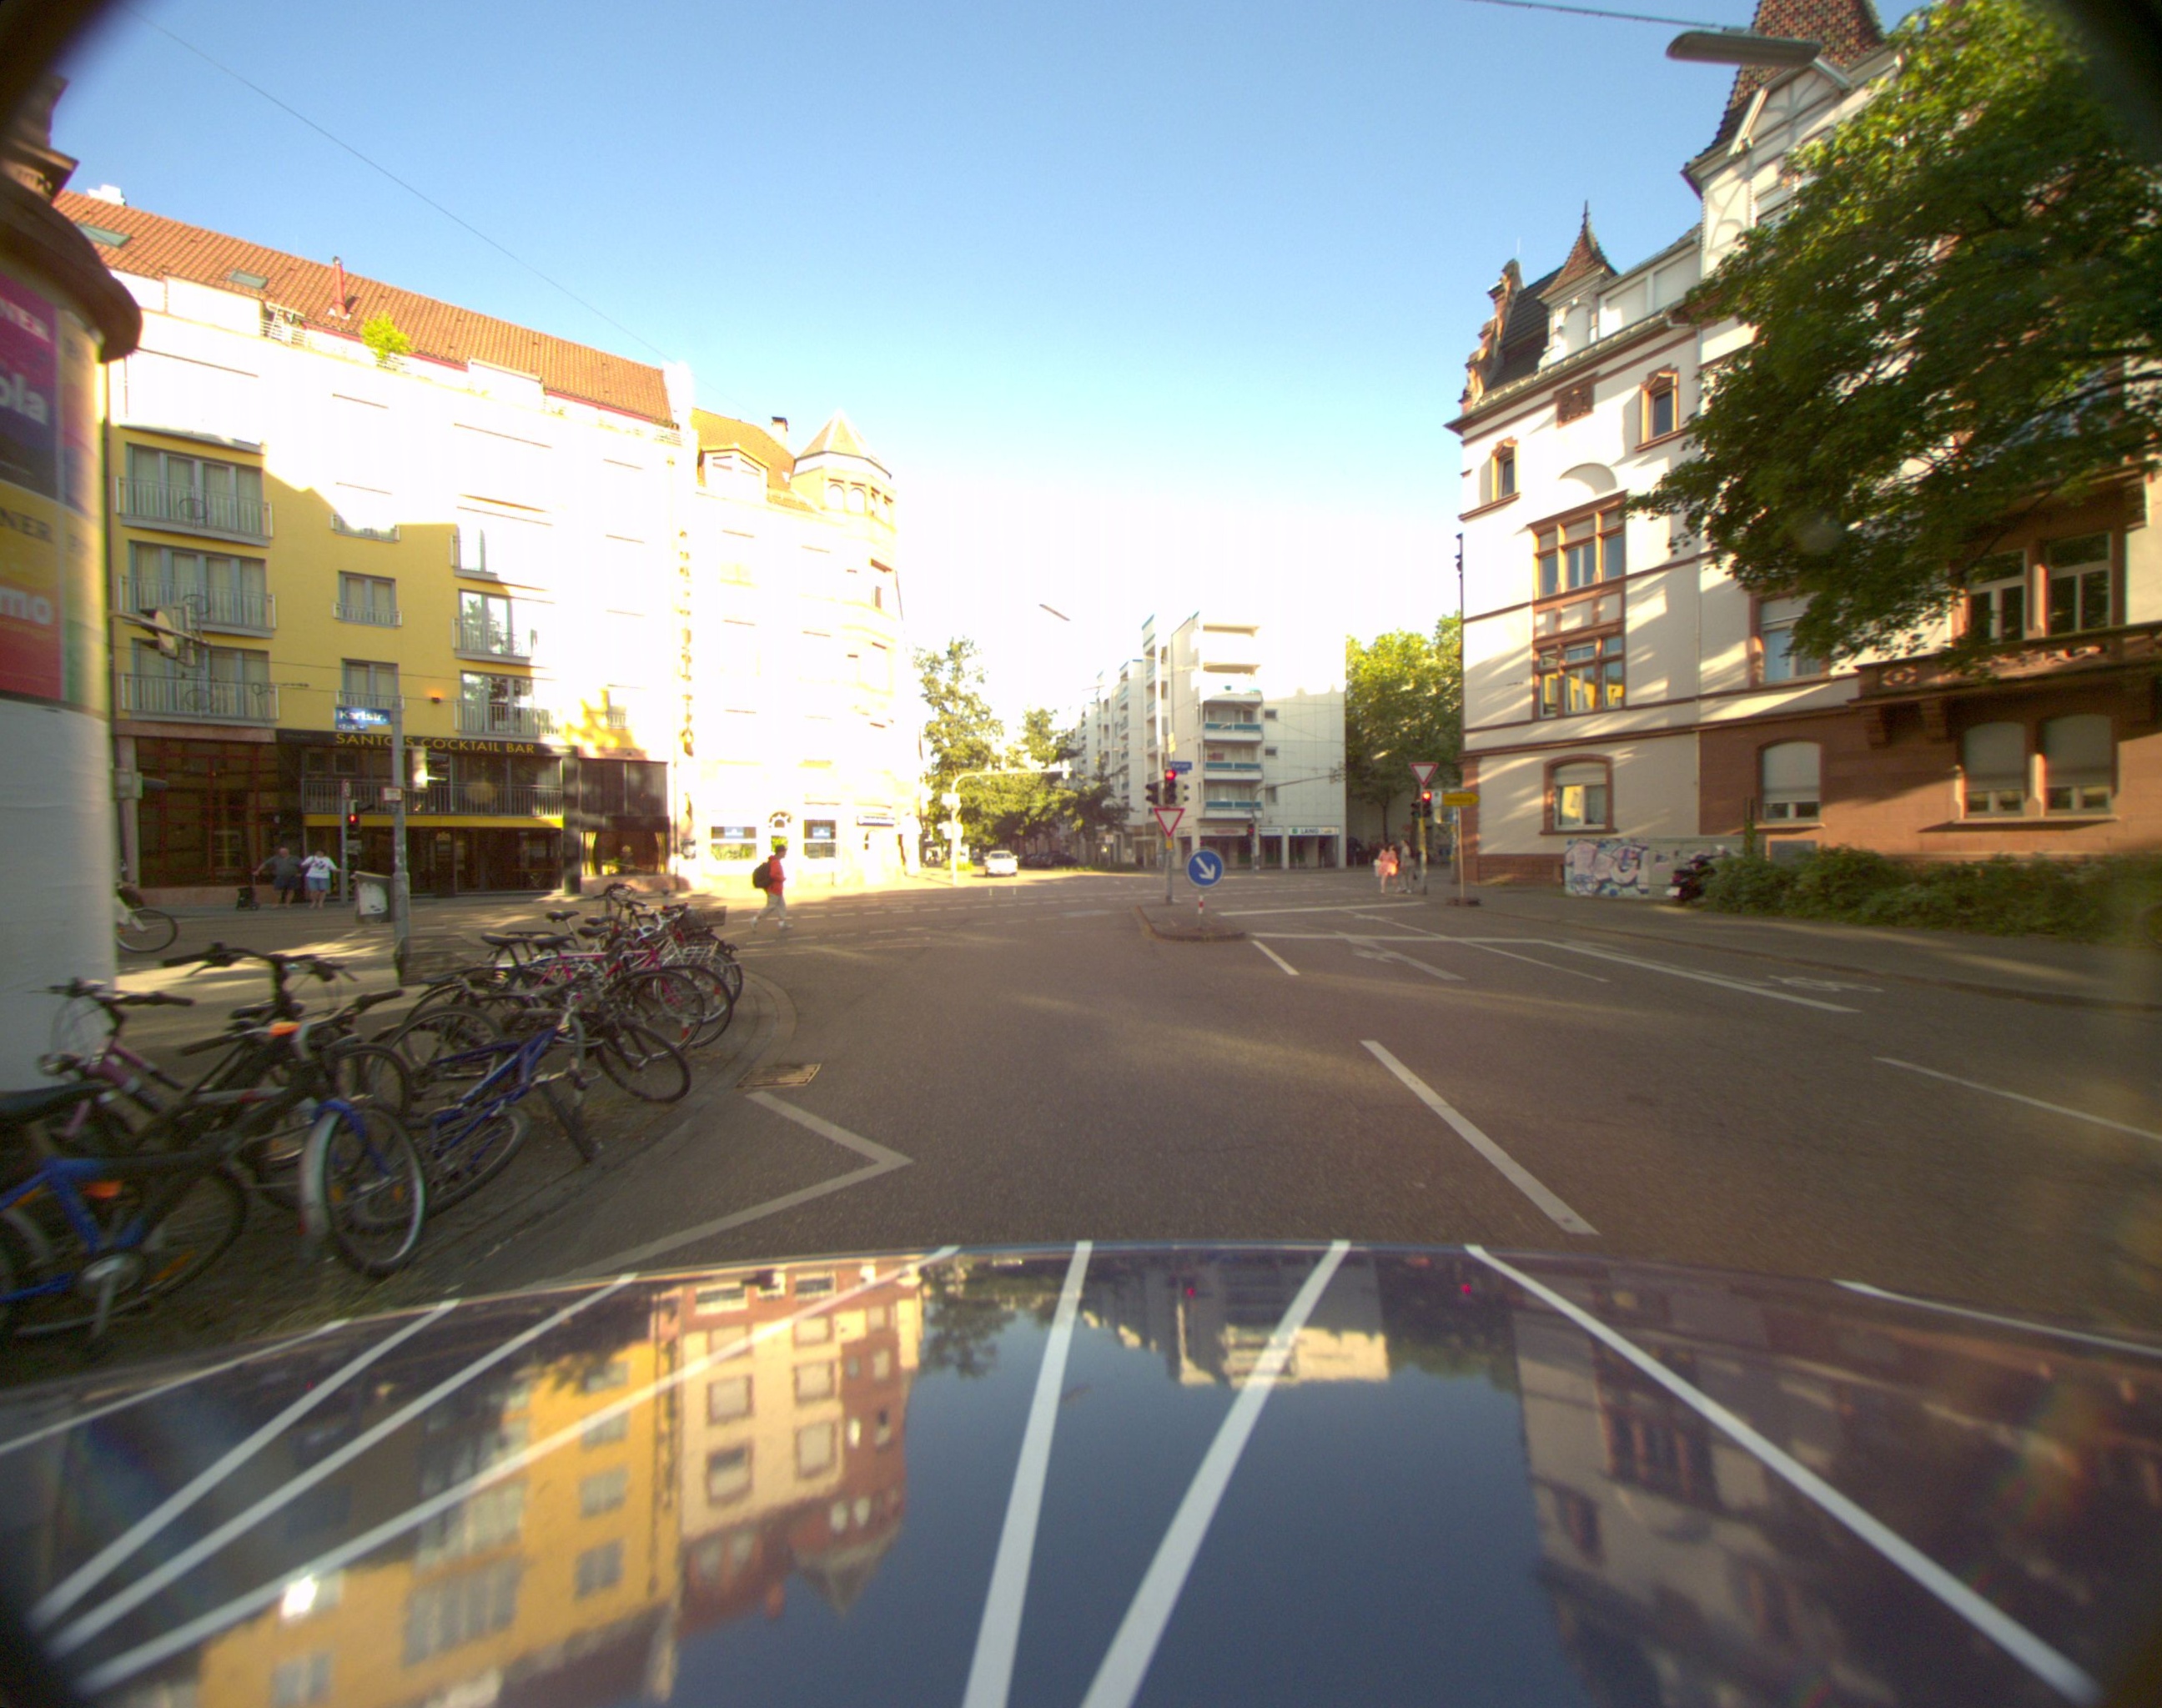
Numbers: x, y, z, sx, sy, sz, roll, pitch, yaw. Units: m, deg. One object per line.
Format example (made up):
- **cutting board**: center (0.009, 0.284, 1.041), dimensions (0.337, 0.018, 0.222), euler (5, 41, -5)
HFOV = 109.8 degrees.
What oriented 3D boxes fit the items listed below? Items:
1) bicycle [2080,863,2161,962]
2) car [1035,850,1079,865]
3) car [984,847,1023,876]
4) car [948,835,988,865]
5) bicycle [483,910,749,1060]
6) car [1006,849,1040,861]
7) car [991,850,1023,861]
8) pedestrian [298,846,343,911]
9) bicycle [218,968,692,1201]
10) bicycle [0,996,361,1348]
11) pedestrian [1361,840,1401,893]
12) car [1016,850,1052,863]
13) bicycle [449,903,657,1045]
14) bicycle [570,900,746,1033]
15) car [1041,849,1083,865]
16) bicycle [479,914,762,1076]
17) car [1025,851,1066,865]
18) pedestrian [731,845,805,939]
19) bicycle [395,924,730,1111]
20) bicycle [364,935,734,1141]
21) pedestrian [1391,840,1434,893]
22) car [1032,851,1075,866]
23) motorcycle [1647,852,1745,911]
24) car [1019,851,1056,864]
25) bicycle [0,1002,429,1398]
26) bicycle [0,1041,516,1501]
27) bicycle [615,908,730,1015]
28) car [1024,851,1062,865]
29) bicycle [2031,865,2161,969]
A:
- **bicycle**: center (13.458, 0.727, 8.638), dimensions (0.547, 1.189, 2.960), euler (-1, 0, 6)
- **car**: center (-2.601, 0.392, 81.566), dimensions (4.308, 1.576, 1.997), euler (-1, 1, -19)
- **car**: center (-5.014, 0.439, 48.679), dimensions (2.001, 1.740, 3.995), euler (-1, 1, -13)
- **car**: center (-12.640, -0.412, 84.423), dimensions (3.328, 3.160, 8.071), euler (-1, 1, -16)
- **bicycle**: center (-4.018, 1.079, 6.687), dimensions (1.940, 1.087, 0.424), euler (1, 2, -37)
- **car**: center (-7.808, 0.179, 102.554), dimensions (4.307, 1.576, 1.997), euler (-1, 1, -17)
- **car**: center (-10.943, 0.183, 112.332), dimensions (4.307, 1.576, 1.997), euler (-1, 1, -17)
- **pedestrian**: center (-22.333, 0.712, 22.322), dimensions (0.737, 1.831, 0.724), euler (-1, 5, -33)
- **bicycle**: center (-3.267, 1.182, 4.176), dimensions (1.938, 0.982, 0.495), euler (2, 1, -20)
- **bicycle**: center (-3.740, 1.173, 2.957), dimensions (0.354, 0.922, 1.525), euler (2, 1, 3)
- **pedestrian**: center (9.753, 0.395, 24.713), dimensions (0.986, 1.688, 0.867), euler (-1, 1, -44)
- **car**: center (-6.109, 0.311, 97.969), dimensions (4.307, 1.576, 1.997), euler (-1, 1, -17)
- **bicycle**: center (-4.914, 1.062, 7.159), dimensions (0.572, 1.087, 1.480), euler (3, 1, 33)
- **bicycle**: center (-4.104, 1.048, 7.477), dimensions (0.424, 1.087, 1.480), euler (3, 1, 32)
- **car**: center (-2.013, 0.308, 79.192), dimensions (4.003, 1.576, 1.997), euler (-1, 1, -19)
- **bicycle**: center (-3.737, 1.090, 6.299), dimensions (1.940, 1.087, 0.424), euler (1, 2, -37)
- **car**: center (-4.056, 0.424, 86.339), dimensions (4.308, 1.576, 1.997), euler (-1, 1, -19)
- **pedestrian**: center (-5.915, 0.676, 14.341), dimensions (1.175, 1.670, 1.005), euler (-1, 1, -28)
- **bicycle**: center (-3.667, 1.103, 5.543), dimensions (1.940, 1.087, 0.424), euler (1, 2, -35)
- **bicycle**: center (-3.443, 1.137, 5.106), dimensions (1.940, 1.046, 0.501), euler (1, 2, -35)
- **pedestrian**: center (10.883, 0.391, 24.919), dimensions (0.871, 1.688, 0.981), euler (-1, 1, -36)
- **car**: center (-3.053, 0.487, 84.117), dimensions (4.308, 1.576, 1.997), euler (-1, 1, -19)
- **motorcycle**: center (13.965, 0.599, 17.248), dimensions (2.113, 1.258, 0.841), euler (-1, 1, -23)
- **car**: center (-5.432, 0.378, 95.657), dimensions (4.307, 1.576, 1.997), euler (-1, 1, -17)
- **bicycle**: center (-3.348, 1.174, 2.819), dimensions (0.354, 0.922, 1.526), euler (2, 1, 9)
- **bicycle**: center (-2.746, 1.241, 2.471), dimensions (0.353, 0.922, 1.416), euler (3, 1, 32)
- **bicycle**: center (-4.445, 1.141, 8.339), dimensions (1.000, 1.021, 0.737), euler (-1, 1, -20)
- **car**: center (-4.659, 0.470, 92.721), dimensions (4.307, 1.576, 1.997), euler (-1, 1, -17)
- **bicycle**: center (12.866, 0.750, 8.691), dimensions (0.547, 1.189, 2.960), euler (-1, 0, 6)
